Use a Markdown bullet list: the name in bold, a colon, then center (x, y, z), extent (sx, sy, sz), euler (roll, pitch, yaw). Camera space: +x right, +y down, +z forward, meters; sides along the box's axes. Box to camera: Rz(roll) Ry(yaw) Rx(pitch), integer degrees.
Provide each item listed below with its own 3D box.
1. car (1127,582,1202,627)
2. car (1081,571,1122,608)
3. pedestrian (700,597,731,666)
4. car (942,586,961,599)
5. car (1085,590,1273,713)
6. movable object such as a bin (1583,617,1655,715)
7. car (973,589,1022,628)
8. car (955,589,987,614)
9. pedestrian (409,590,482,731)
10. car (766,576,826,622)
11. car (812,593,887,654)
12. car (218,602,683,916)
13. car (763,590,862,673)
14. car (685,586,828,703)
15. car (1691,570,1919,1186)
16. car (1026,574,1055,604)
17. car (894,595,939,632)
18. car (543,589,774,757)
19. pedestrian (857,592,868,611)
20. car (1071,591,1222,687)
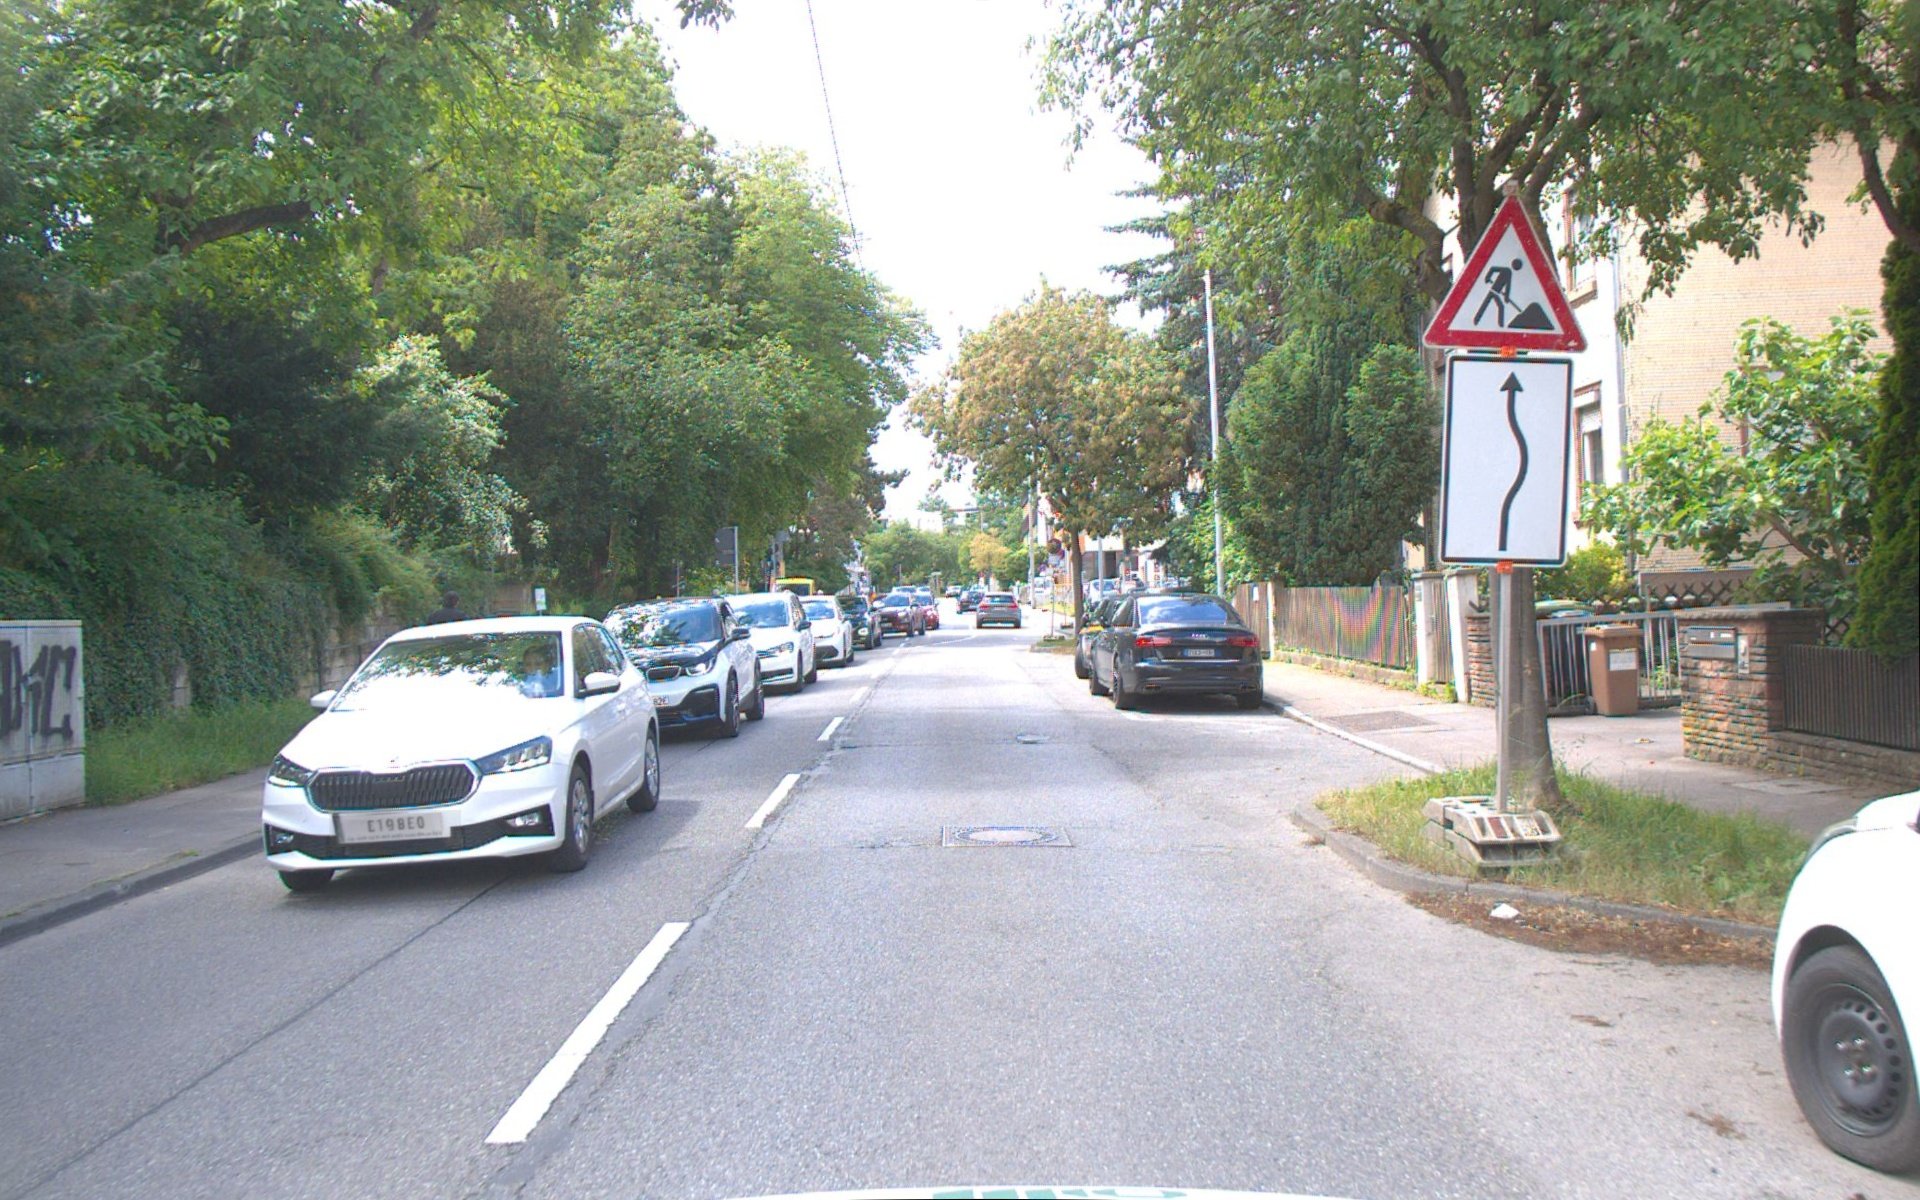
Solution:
- **car**: center (6.613, 0.129, 53.763), extent (1.690, 1.339, 4.265), euler (-2, 0, -3)
- **car**: center (7.095, -0.549, 83.177), extent (1.747, 1.662, 3.694), euler (-5, 0, 3)
- **pedestrian**: center (-6.532, 0.832, 44.203), extent (0.700, 1.792, 1.120), euler (-2, -1, -6)
- **car**: center (-1.065, -0.916, 202.799), extent (2.067, 1.527, 4.268), euler (-2, 0, 2)
- **car**: center (2.829, 0.607, 22.385), extent (1.765, 1.470, 4.885), euler (0, 0, -2)
- **movable object such as a bin**: center (6.843, 0.677, 17.189), extent (0.497, 0.951, 0.520), euler (-4, 2, -1)
- **car**: center (1.573, 0.345, 68.849), extent (1.935, 1.539, 4.268), euler (1, 0, 2)
- **car**: center (0.658, 0.073, 103.901), extent (1.779, 1.527, 4.265), euler (-1, 0, -2)
- **pedestrian**: center (-6.416, 0.741, 20.659), extent (0.640, 1.696, 0.930), euler (-2, -1, -6)
- **car**: center (-7.585, -0.036, 76.891), extent (2.101, 2.015, 4.932), euler (-2, 0, 2)
- **car**: center (-3.178, 0.649, 48.326), extent (1.752, 1.568, 4.264), euler (-4, 1, 1)
- **car**: center (-2.996, 0.835, 10.640), extent (1.724, 1.464, 3.970), euler (-4, 1, -1)
- **car**: center (-3.231, 0.643, 36.870), extent (1.749, 1.619, 4.153), euler (-4, 0, 0)
- **car**: center (-3.315, 0.672, 27.764), extent (1.750, 1.676, 4.490), euler (-4, 1, 0)
- **car**: center (3.195, 0.683, 3.438), extent (1.589, 1.534, 3.778), euler (-2, 0, -1)
- **car**: center (5.942, -0.786, 122.255), extent (1.952, 2.049, 4.000), euler (-2, 0, 1)
- **car**: center (-1.759, 0.560, 68.444), extent (1.656, 1.450, 3.438), euler (-2, 0, 1)
- **car**: center (-3.388, 0.750, 19.406), extent (1.889, 1.572, 4.086), euler (-5, 1, -1)
- **pedestrian**: center (-7.453, 0.117, 126.348), extent (0.690, 1.464, 0.714), euler (-2, -1, 3)
- **car**: center (3.015, 0.580, 27.596), extent (1.787, 1.442, 4.507), euler (-1, 0, -3)
